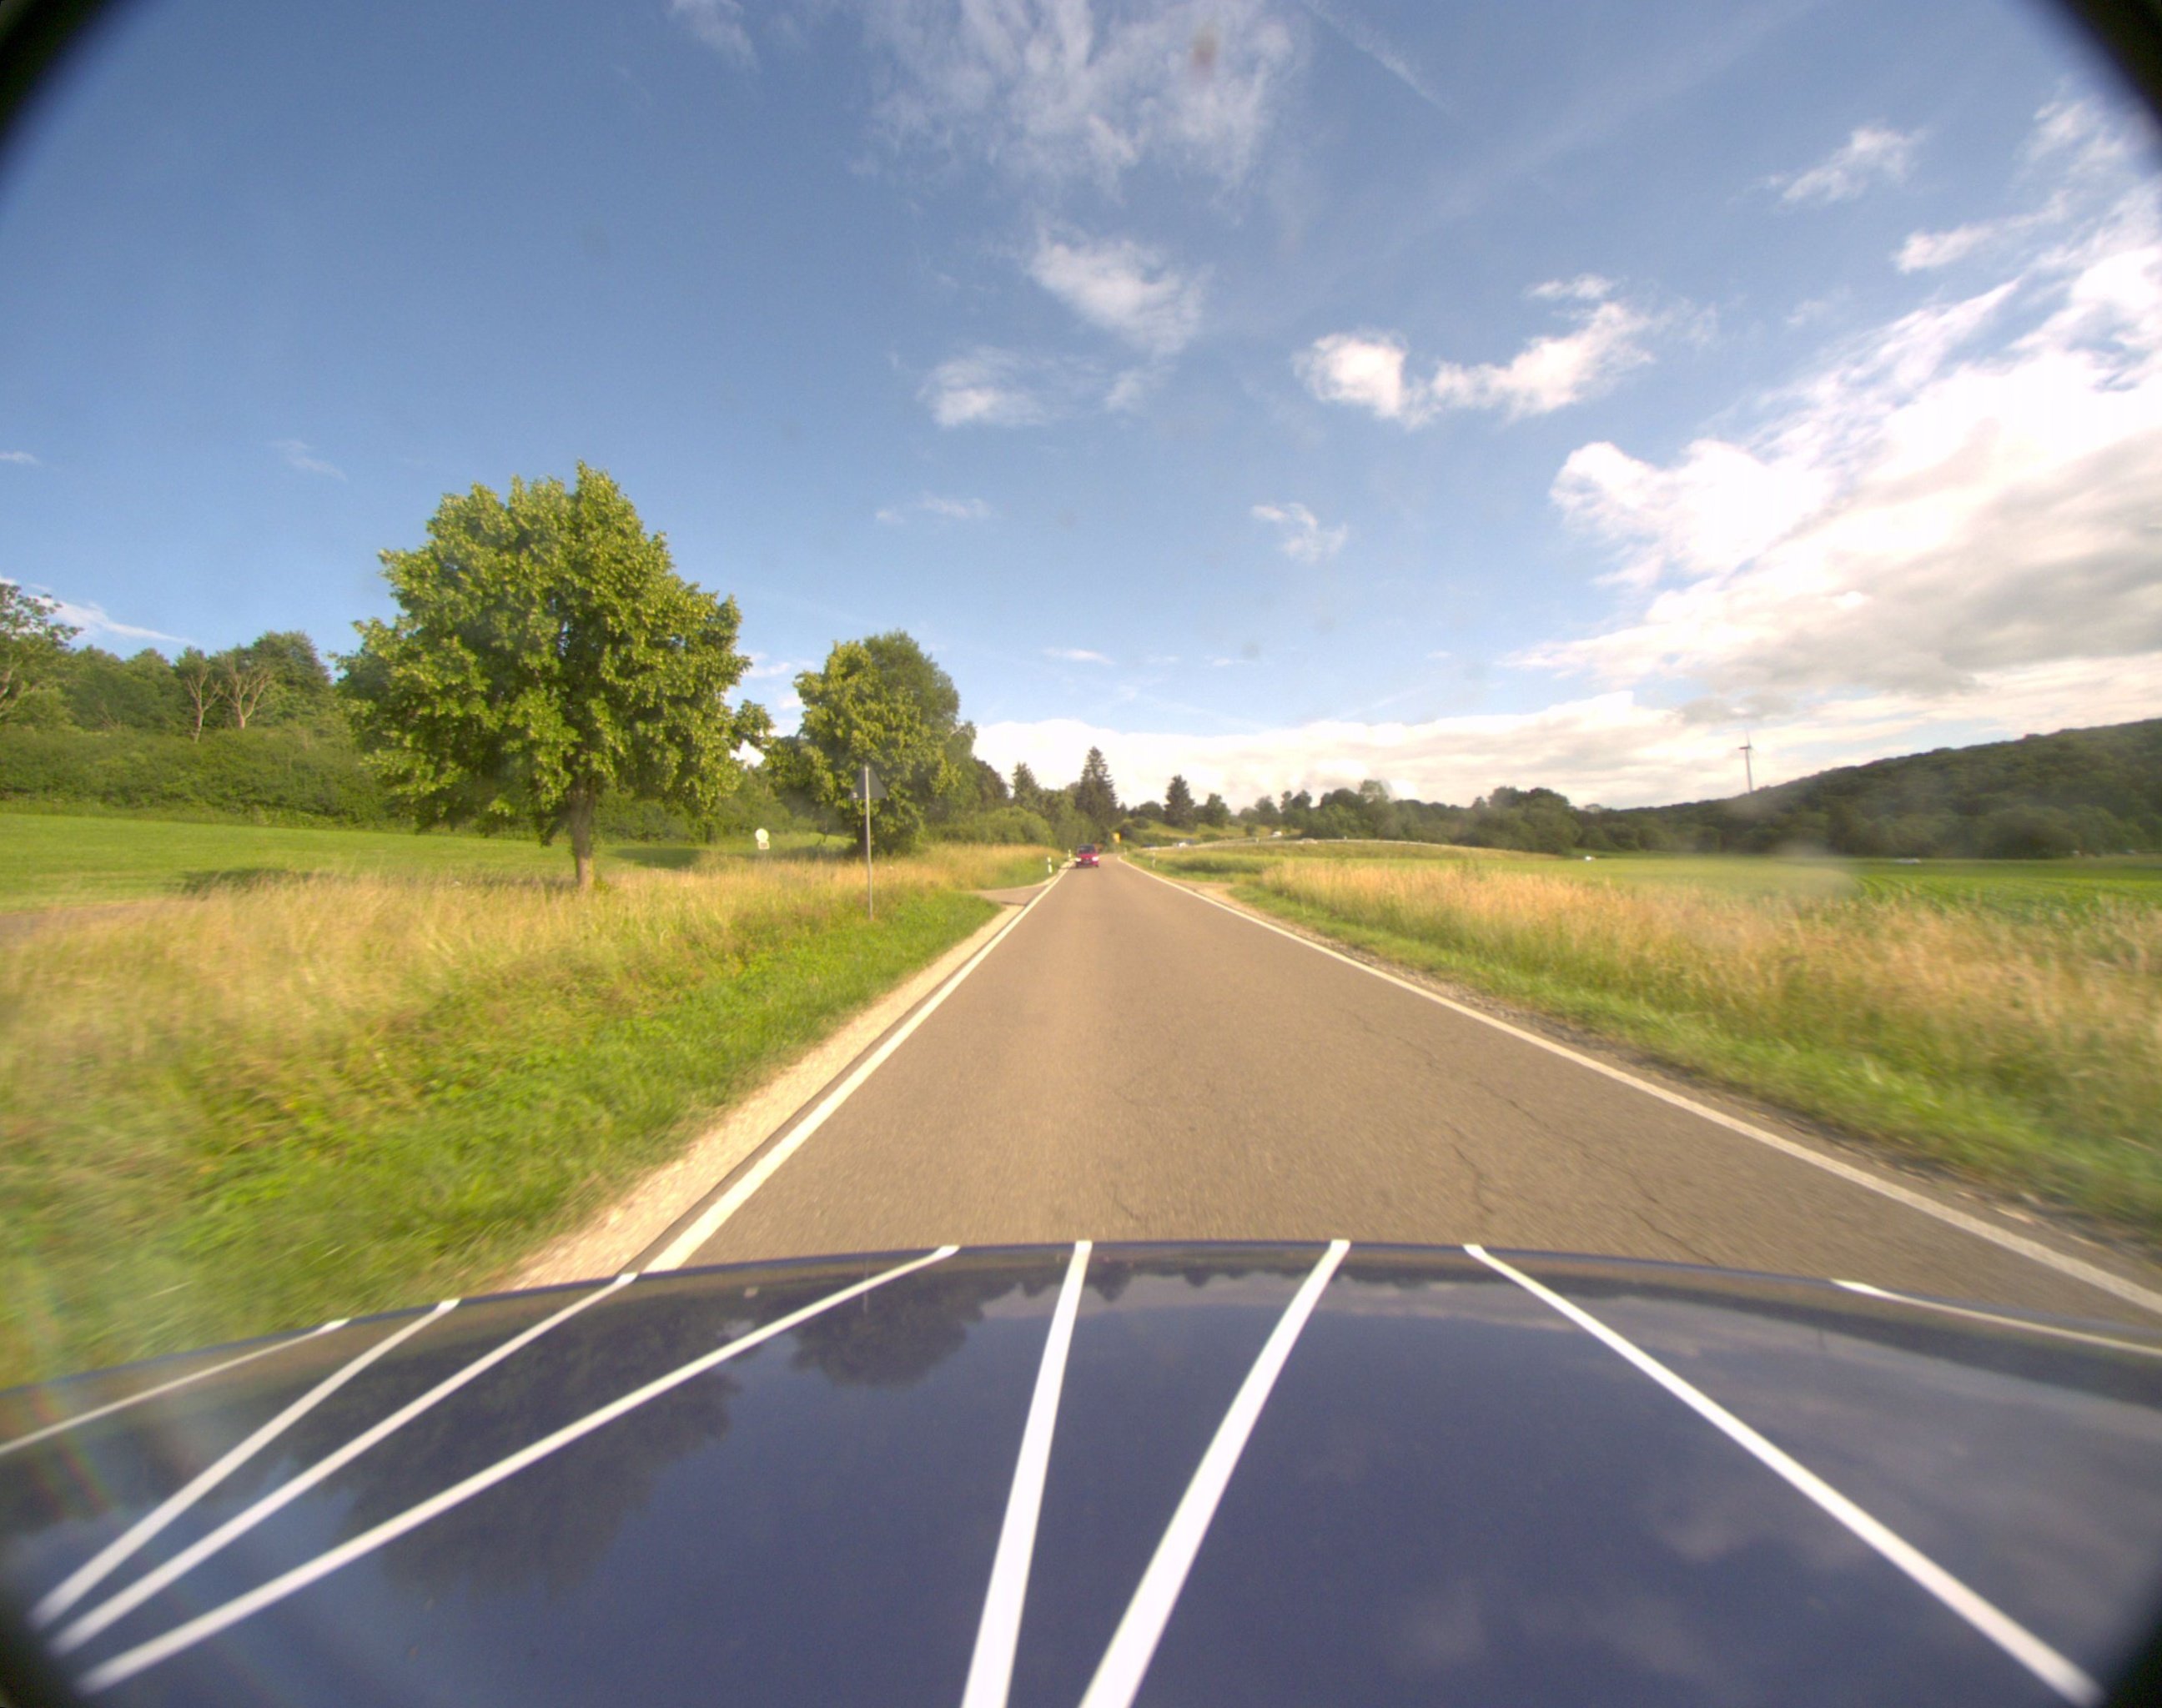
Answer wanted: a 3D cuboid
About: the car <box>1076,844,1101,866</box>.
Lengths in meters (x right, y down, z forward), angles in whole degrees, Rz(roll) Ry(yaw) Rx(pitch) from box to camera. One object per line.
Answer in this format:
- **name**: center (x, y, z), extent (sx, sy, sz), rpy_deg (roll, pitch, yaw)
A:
- **car**: center (0.614, 0.071, 59.451), extent (1.821, 1.645, 4.000), rpy_deg (1, 1, 1)
